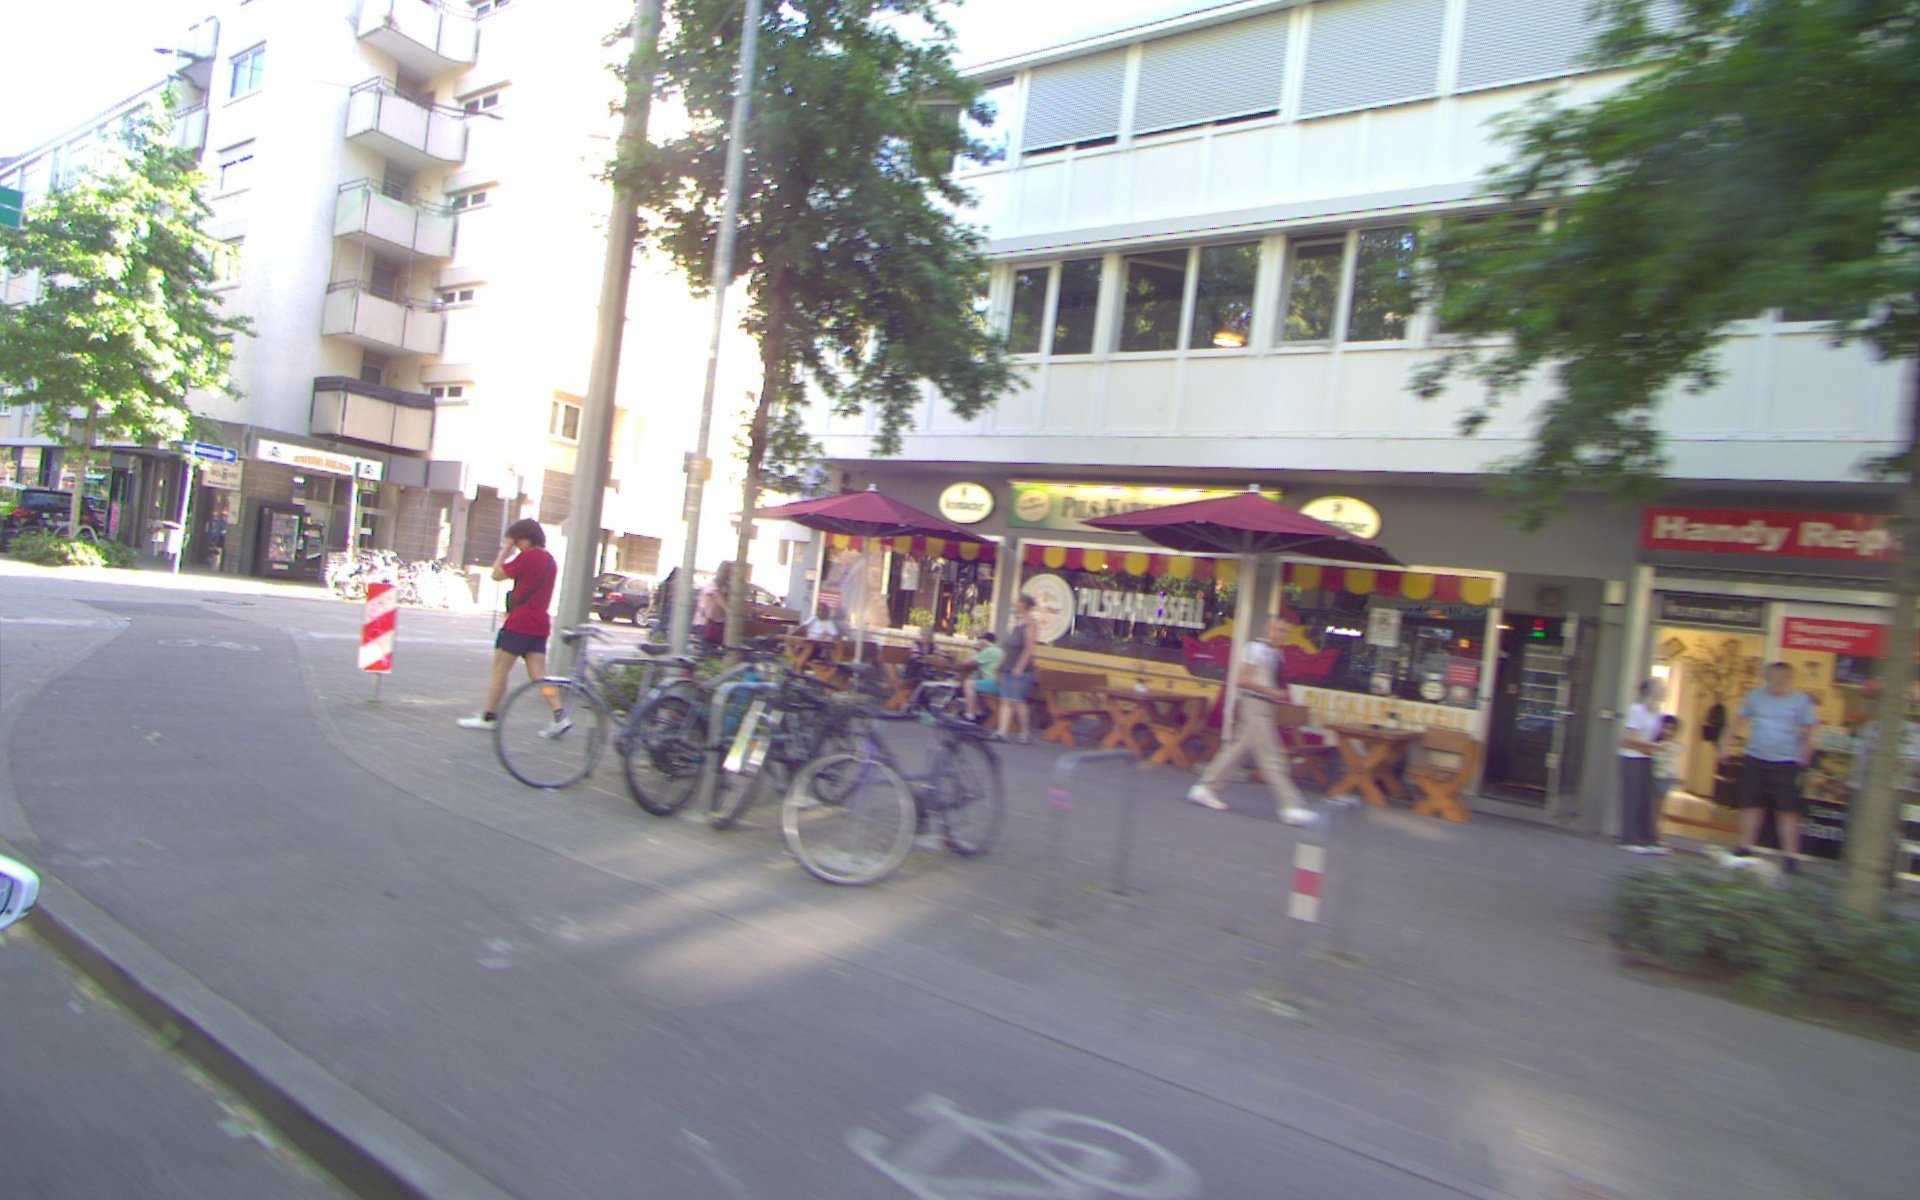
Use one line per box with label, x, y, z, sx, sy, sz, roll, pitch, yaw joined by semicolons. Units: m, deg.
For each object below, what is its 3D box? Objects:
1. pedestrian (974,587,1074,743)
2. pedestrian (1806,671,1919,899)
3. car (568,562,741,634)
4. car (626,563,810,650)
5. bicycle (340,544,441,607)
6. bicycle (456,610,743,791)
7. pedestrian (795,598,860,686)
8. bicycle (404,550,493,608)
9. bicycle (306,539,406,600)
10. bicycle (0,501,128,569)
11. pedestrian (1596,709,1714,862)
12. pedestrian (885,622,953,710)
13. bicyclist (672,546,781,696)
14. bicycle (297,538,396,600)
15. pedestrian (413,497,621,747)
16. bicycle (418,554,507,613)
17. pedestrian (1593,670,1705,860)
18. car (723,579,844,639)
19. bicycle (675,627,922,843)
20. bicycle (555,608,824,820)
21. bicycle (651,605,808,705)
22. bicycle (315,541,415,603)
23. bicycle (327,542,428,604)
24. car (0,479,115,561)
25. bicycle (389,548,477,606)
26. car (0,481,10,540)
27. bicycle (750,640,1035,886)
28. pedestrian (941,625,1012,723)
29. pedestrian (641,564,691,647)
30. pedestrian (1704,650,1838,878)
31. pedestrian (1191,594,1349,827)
pedestrian;0.731;0.737;11.677;0.801;1.678;0.677;7;-1;-13
pedestrian;7.943;1.575;8.689;0.518;1.826;0.630;7;-1;-13
car;-8.855;-0.015;29.560;1.841;1.496;4.588;10;1;34
car;-5.799;0.219;24.619;1.933;1.610;4.260;6;-2;28
bicycle;-12.937;-0.531;22.906;0.502;1.222;1.917;8;1;30
bicycle;-2.316;0.671;6.728;0.473;1.006;1.819;7;-2;31
pedestrian;-2.116;0.666;16.044;0.704;1.302;0.536;7;-1;35
bicycle;-12.866;-0.505;25.354;0.502;1.221;1.918;7;-2;30
bicycle;-14.255;-0.693;23.795;0.502;1.222;1.917;8;0;30
bicycle;-20.587;-1.478;23.101;0.672;1.201;2.124;6;-2;42
pedestrian;6.494;1.719;9.421;0.615;1.291;0.509;7;-1;-3
pedestrian;-0.547;0.896;13.552;0.513;1.091;0.643;7;-1;32
bicyclist;-2.927;0.264;12.597;0.950;1.737;0.677;7;-1;36
bicycle;-14.683;-0.731;24.132;0.502;1.222;1.918;7;-2;30
pedestrian;-3.522;0.180;8.086;1.028;1.779;0.879;7;-1;8
bicycle;-12.357;-0.383;25.052;0.502;1.222;1.918;9;0;30
pedestrian;6.431;1.521;9.410;0.509;1.648;0.507;7;-1;-4
car;-5.929;0.327;34.152;1.679;1.526;3.994;7;-2;32
bicycle;-0.928;0.807;6.336;0.473;1.113;1.821;7;-2;26
bicycle;-1.636;0.702;6.440;0.489;1.113;1.821;7;-2;26
bicycle;-2.899;0.671;12.540;1.991;0.974;0.677;6;-1;36
bicycle;-13.831;-0.637;23.450;0.502;1.222;1.917;8;0;30
bicycle;-13.383;-0.603;23.175;0.502;1.222;1.917;8;1;30
car;-23.148;-2.053;25.079;4.374;1.635;1.995;6;-1;34
bicycle;-13.422;-0.565;25.690;0.502;1.221;1.918;6;-2;30
car;-29.130;-2.788;28.819;4.345;1.624;1.802;6;-2;34
bicycle;-0.293;0.848;5.662;0.517;1.113;1.817;7;-1;33
pedestrian;0.221;0.961;13.000;0.513;1.189;0.660;7;-1;32
pedestrian;-5.939;0.105;20.310;0.635;1.580;0.551;5;-1;38
pedestrian;7.660;1.517;9.506;0.782;1.978;0.505;7;-1;43
pedestrian;2.654;0.917;8.617;0.979;1.805;0.591;7;-1;32
